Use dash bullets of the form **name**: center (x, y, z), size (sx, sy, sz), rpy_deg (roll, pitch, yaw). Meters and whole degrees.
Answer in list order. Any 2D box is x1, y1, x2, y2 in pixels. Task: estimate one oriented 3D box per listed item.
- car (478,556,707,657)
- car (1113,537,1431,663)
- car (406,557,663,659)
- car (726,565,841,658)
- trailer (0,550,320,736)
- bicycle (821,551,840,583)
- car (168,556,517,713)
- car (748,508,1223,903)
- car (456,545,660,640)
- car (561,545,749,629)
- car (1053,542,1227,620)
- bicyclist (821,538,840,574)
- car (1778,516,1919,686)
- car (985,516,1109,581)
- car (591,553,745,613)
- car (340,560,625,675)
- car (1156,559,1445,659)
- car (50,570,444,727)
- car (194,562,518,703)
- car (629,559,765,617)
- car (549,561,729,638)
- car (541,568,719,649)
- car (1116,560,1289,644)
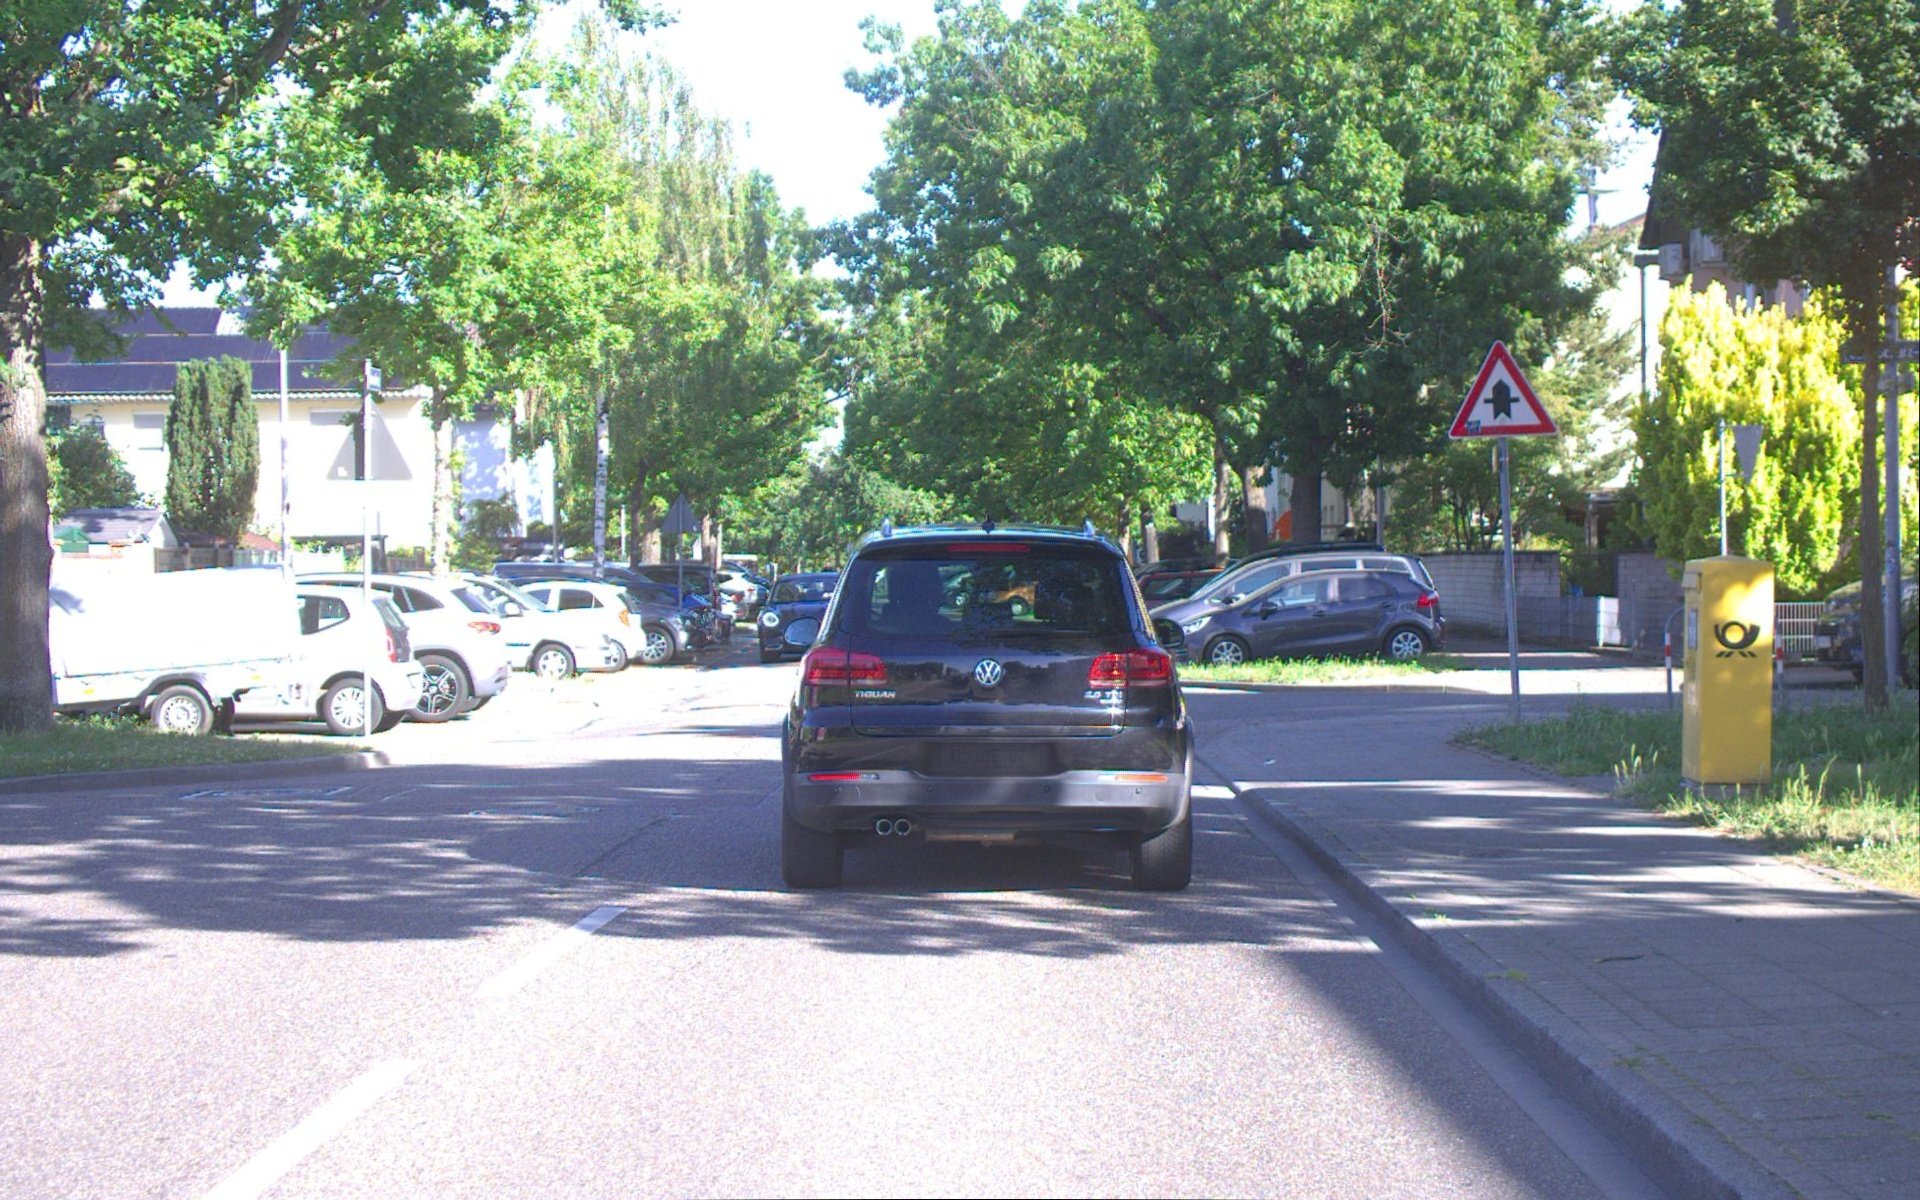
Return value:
- **car**: center (-6.584, 0.097, 61.937), size (3.986, 1.725, 2.000), rpy_deg (-1, 0, -4)
- **car**: center (4.709, -0.008, 52.344), size (4.633, 1.803, 1.824), rpy_deg (-1, 0, 0)
- **car**: center (-7.046, 0.120, 57.177), size (3.987, 1.634, 2.000), rpy_deg (-1, 1, 1)
- **car**: center (-3.144, 0.179, 61.918), size (1.909, 1.550, 4.000), rpy_deg (-2, 1, -1)
- **trailer**: center (-7.548, 0.386, 31.995), size (2.966, 1.650, 1.396), rpy_deg (-1, 0, -4)
- **bicycle**: center (-4.960, -1.255, 131.684), size (0.637, 1.159, 1.741), rpy_deg (-1, -1, -4)
- **car**: center (-6.595, 0.352, 37.033), size (3.548, 1.608, 1.853), rpy_deg (-1, 0, -6)
- **car**: center (-0.026, 0.421, 16.809), size (1.929, 1.649, 4.515), rpy_deg (1, 1, -4)
- **car**: center (-8.087, -0.151, 69.395), size (3.986, 1.830, 1.638), rpy_deg (-1, 0, -4)
- **car**: center (-7.223, -0.311, 81.503), size (4.389, 1.932, 1.579), rpy_deg (0, -1, -4)
- **car**: center (4.209, -0.456, 80.802), size (3.987, 1.769, 1.790), rpy_deg (-1, 1, 0)
- **bicyclist**: center (-4.953, -1.687, 131.719), size (0.700, 1.341, 0.506), rpy_deg (-1, -2, -4)
- **car**: center (12.132, -0.005, 38.766), size (5.239, 1.841, 2.072), rpy_deg (-1, -1, -3)
- **car**: center (2.825, -1.674, 112.354), size (3.987, 2.007, 2.000), rpy_deg (-1, -1, 0)
- **car**: center (-7.896, -0.448, 93.251), size (3.987, 1.493, 2.000), rpy_deg (-1, -1, 0)
- **car**: center (-7.161, 0.250, 51.838), size (3.987, 1.664, 2.000), rpy_deg (-1, 1, 1)
- **car**: center (4.896, 0.120, 49.847), size (3.987, 1.364, 1.847), rpy_deg (-1, 0, 0)
- **car**: center (-7.074, 0.466, 34.356), size (3.549, 1.472, 1.808), rpy_deg (-1, 0, 0)
- **car**: center (-6.995, 0.360, 40.109), size (3.548, 1.552, 1.853), rpy_deg (-1, 0, -5)
- **car**: center (-7.994, -0.382, 104.490), size (3.986, 1.678, 1.924), rpy_deg (-1, 0, -8)
- **car**: center (-7.347, 0.007, 79.027), size (3.987, 1.714, 1.821), rpy_deg (0, -1, -1)
- **car**: center (-6.361, 0.150, 66.529), size (3.370, 1.485, 1.644), rpy_deg (-1, 0, -4)
- **car**: center (4.516, 0.026, 64.198), size (3.043, 1.502, 1.247), rpy_deg (-1, 0, -6)
